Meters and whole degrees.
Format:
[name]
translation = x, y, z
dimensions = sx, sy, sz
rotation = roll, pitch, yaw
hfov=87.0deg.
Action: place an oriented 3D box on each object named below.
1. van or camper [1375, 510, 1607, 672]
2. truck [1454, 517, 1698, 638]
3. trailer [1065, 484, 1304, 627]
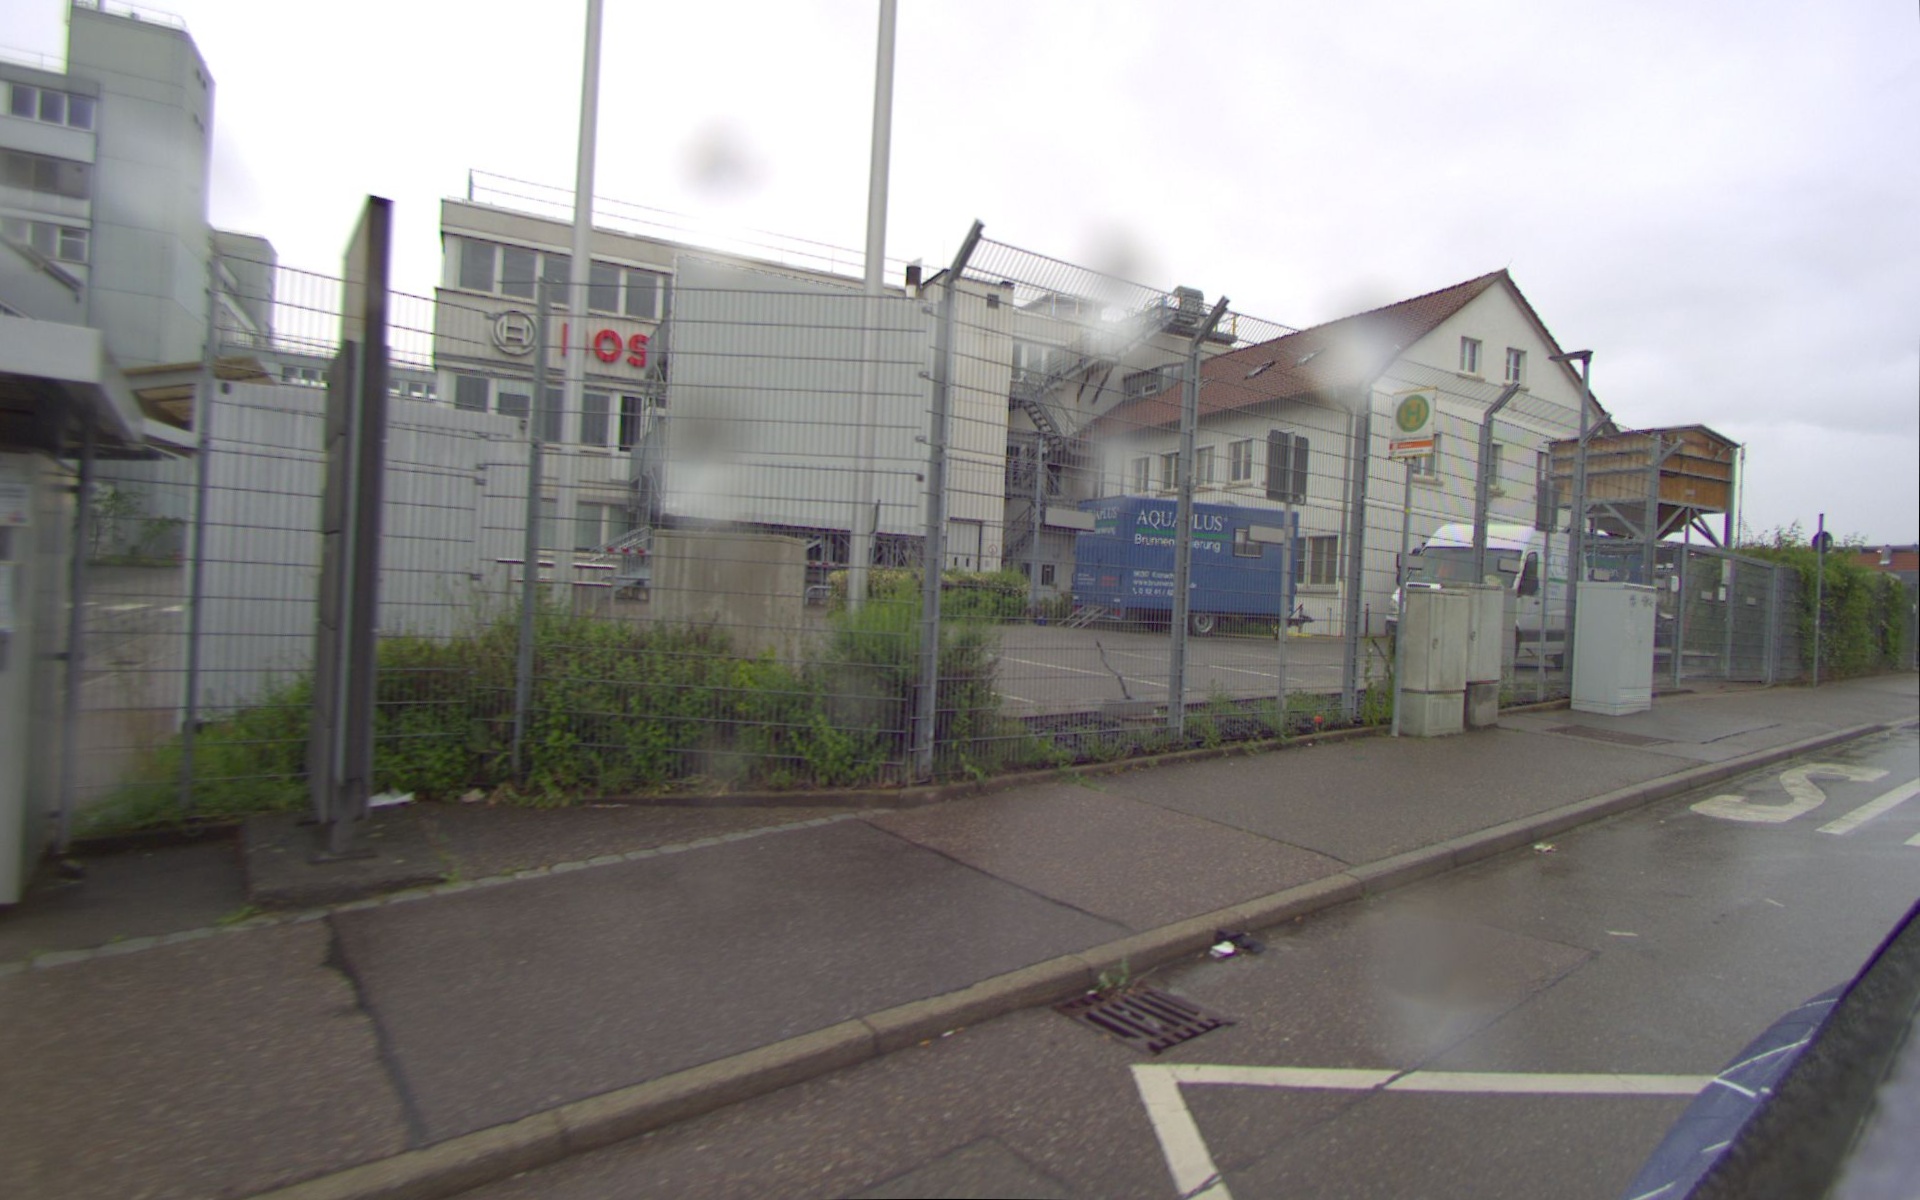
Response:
[van or camper]
translation = 9.879, -0.211, 18.569
dimensions = 2.086, 2.526, 5.711
rotation = 4, 3, 45
[truck]
translation = 16.902, -0.577, 27.647
dimensions = 6.986, 3.005, 2.331
rotation = 1, 2, -28
[trailer]
translation = 5.015, -0.934, 22.831
dimensions = 4.534, 2.928, 2.641
rotation = -1, 0, -22
